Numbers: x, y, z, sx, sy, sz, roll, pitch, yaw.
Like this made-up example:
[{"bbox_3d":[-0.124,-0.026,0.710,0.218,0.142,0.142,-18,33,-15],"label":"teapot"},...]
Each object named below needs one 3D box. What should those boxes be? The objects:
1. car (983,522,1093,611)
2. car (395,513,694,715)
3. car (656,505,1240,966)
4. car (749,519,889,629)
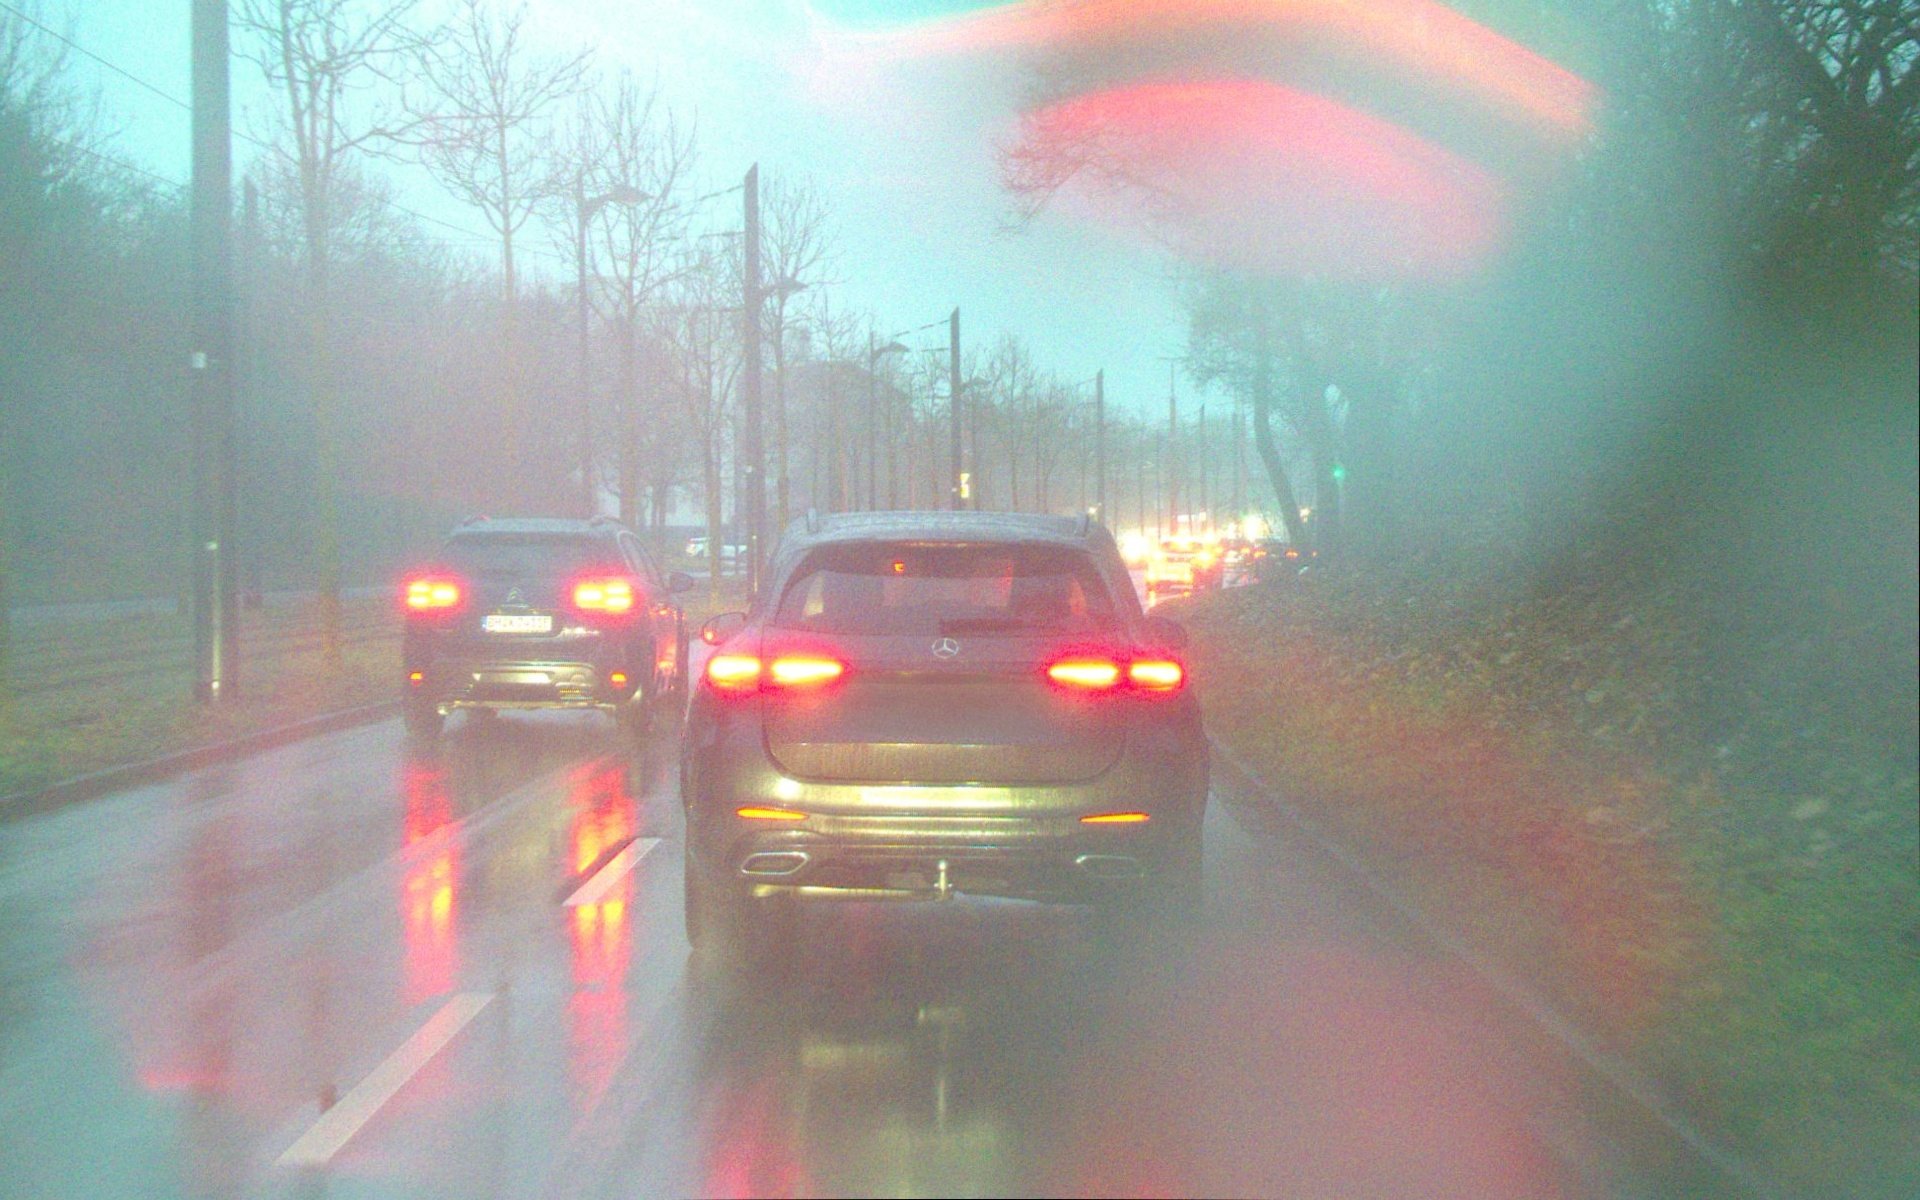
[{"bbox_3d":[1.430,-0.622,61.626,1.709,1.552,3.995,0,1,5],"label":"car"},{"bbox_3d":[-3.203,0.053,27.246,1.880,1.454,4.000,0,2,0],"label":"car"},{"bbox_3d":[-0.114,0.417,13.833,1.998,1.578,4.001,0,1,-2],"label":"car"},{"bbox_3d":[-2.117,-0.427,52.785,1.880,1.588,4.000,0,2,1],"label":"car"}]
